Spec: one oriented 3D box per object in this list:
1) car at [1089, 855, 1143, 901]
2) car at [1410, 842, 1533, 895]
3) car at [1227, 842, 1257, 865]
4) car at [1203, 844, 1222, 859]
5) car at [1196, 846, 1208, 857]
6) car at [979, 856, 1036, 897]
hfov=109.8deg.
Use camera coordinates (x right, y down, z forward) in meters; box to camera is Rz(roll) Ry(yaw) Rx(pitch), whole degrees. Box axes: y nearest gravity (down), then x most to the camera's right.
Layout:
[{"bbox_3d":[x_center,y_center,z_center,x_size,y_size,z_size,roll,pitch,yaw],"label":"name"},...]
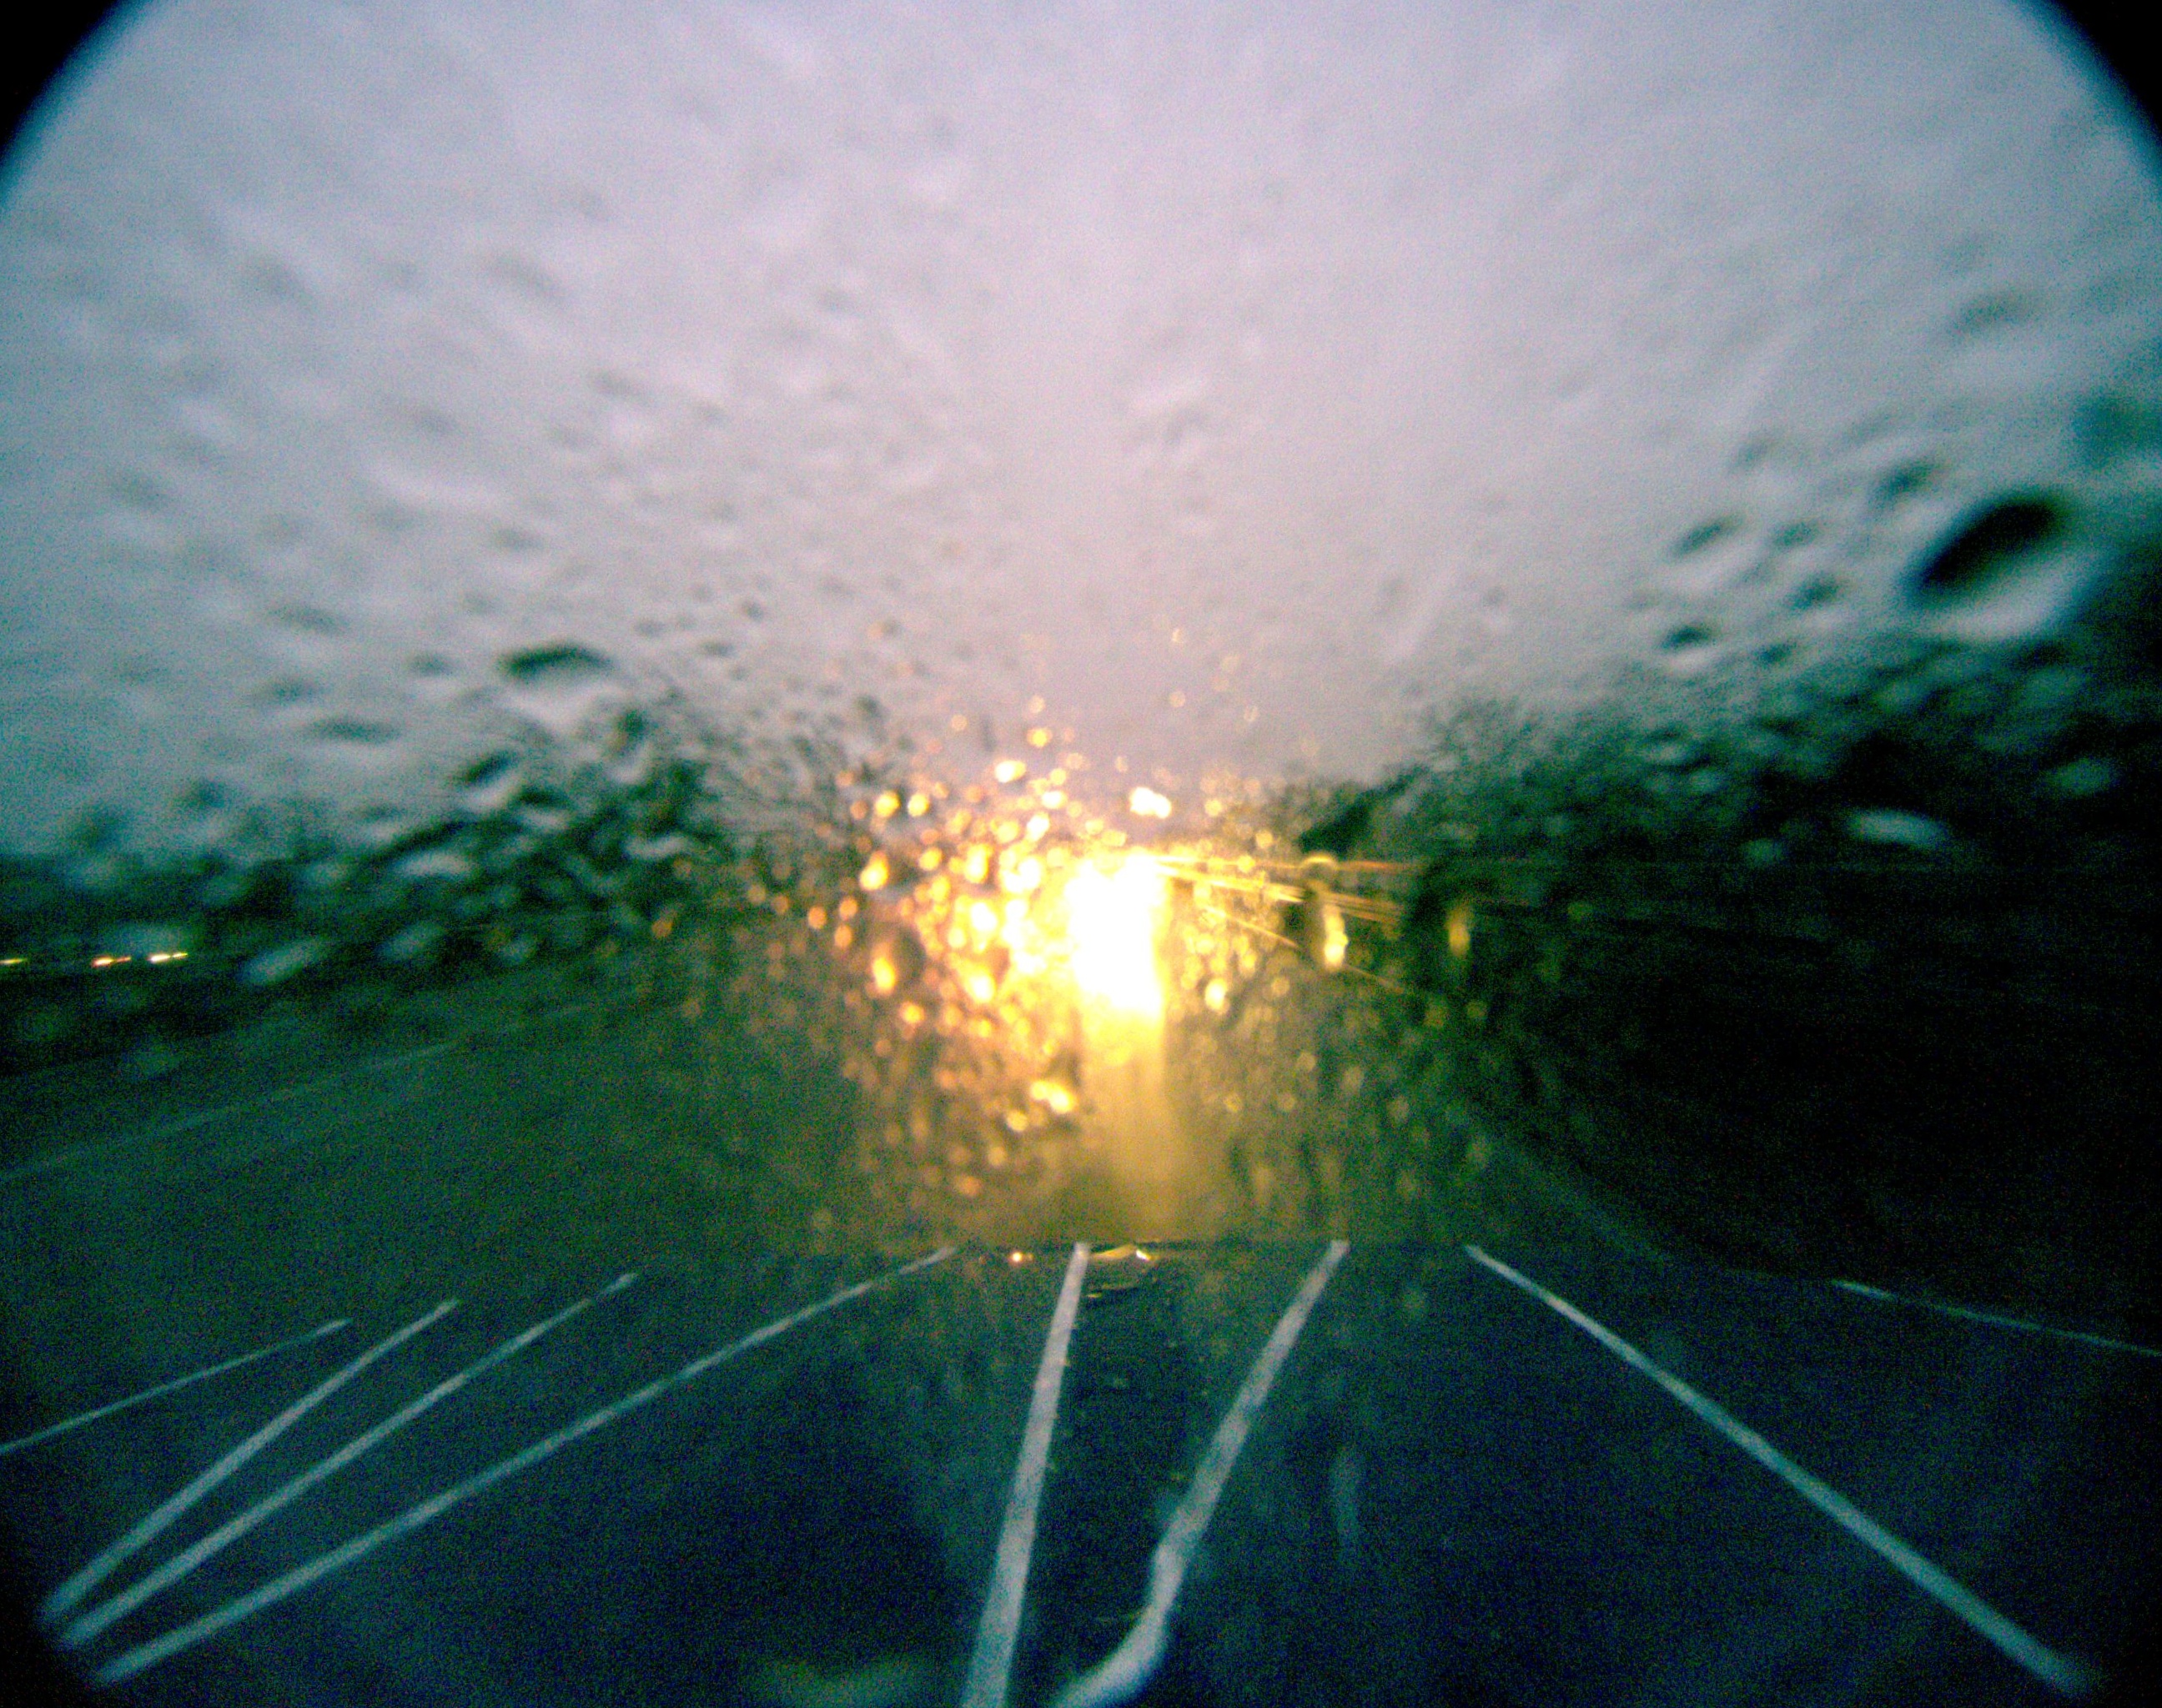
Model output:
[{"bbox_3d":[1.299,0.831,28.687,1.850,1.521,4.149,-2,0,2],"label":"car"},{"bbox_3d":[12.453,0.441,24.565,1.850,1.520,4.304,-1,0,2],"label":"car"},{"bbox_3d":[14.386,-0.084,68.116,1.850,1.903,4.304,-2,0,2],"label":"car"},{"bbox_3d":[17.569,-0.321,101.455,1.850,1.903,4.304,-2,0,2],"label":"car"},{"bbox_3d":[19.940,-0.452,124.982,1.849,1.793,3.995,-2,0,8],"label":"car"},{"bbox_3d":[-3.044,0.916,32.222,1.850,1.521,4.149,-2,0,2],"label":"car"}]
